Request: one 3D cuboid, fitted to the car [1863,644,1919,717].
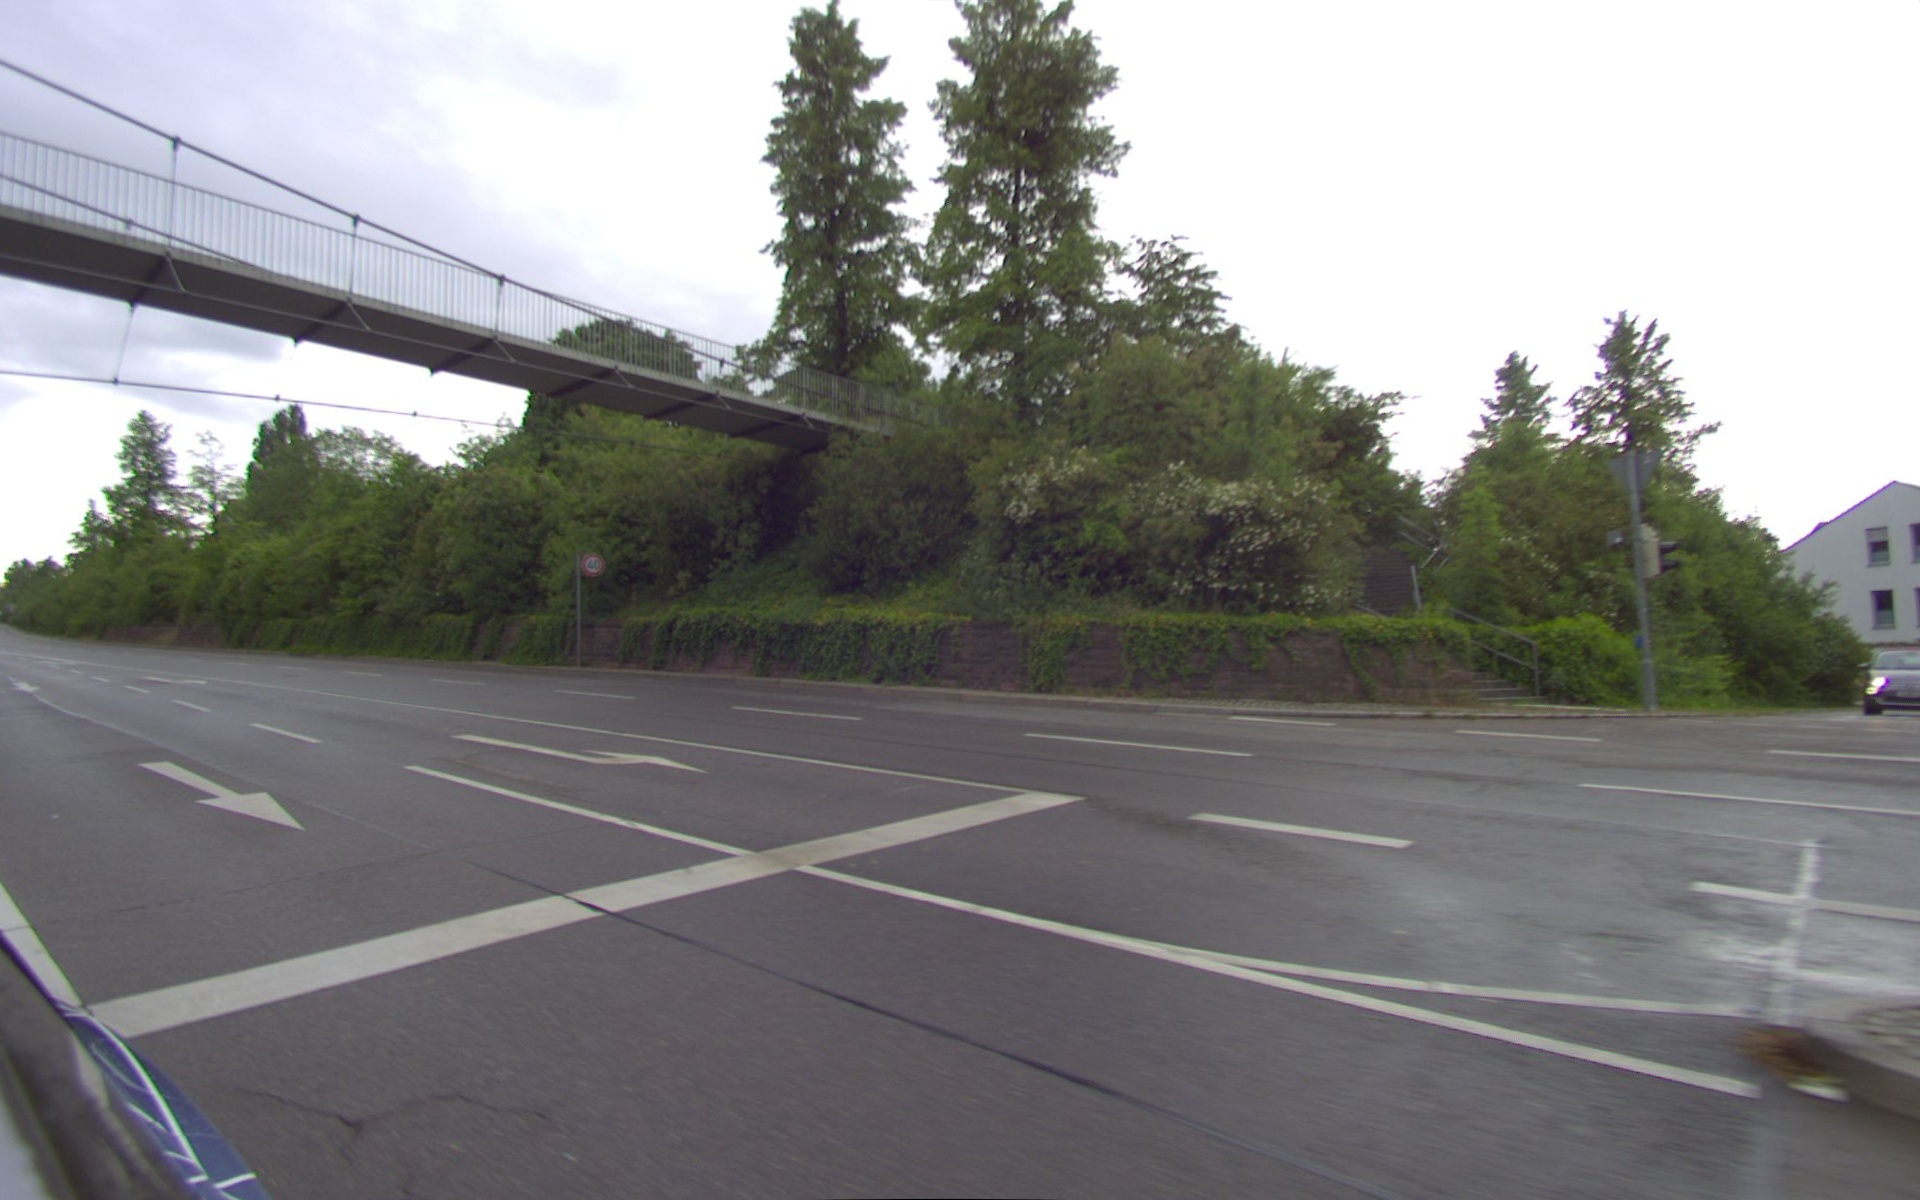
[{"bbox_3d":[20.922,1.718,22.084,1.691,1.484,3.944,-5,-5,42],"label":"car"}]
